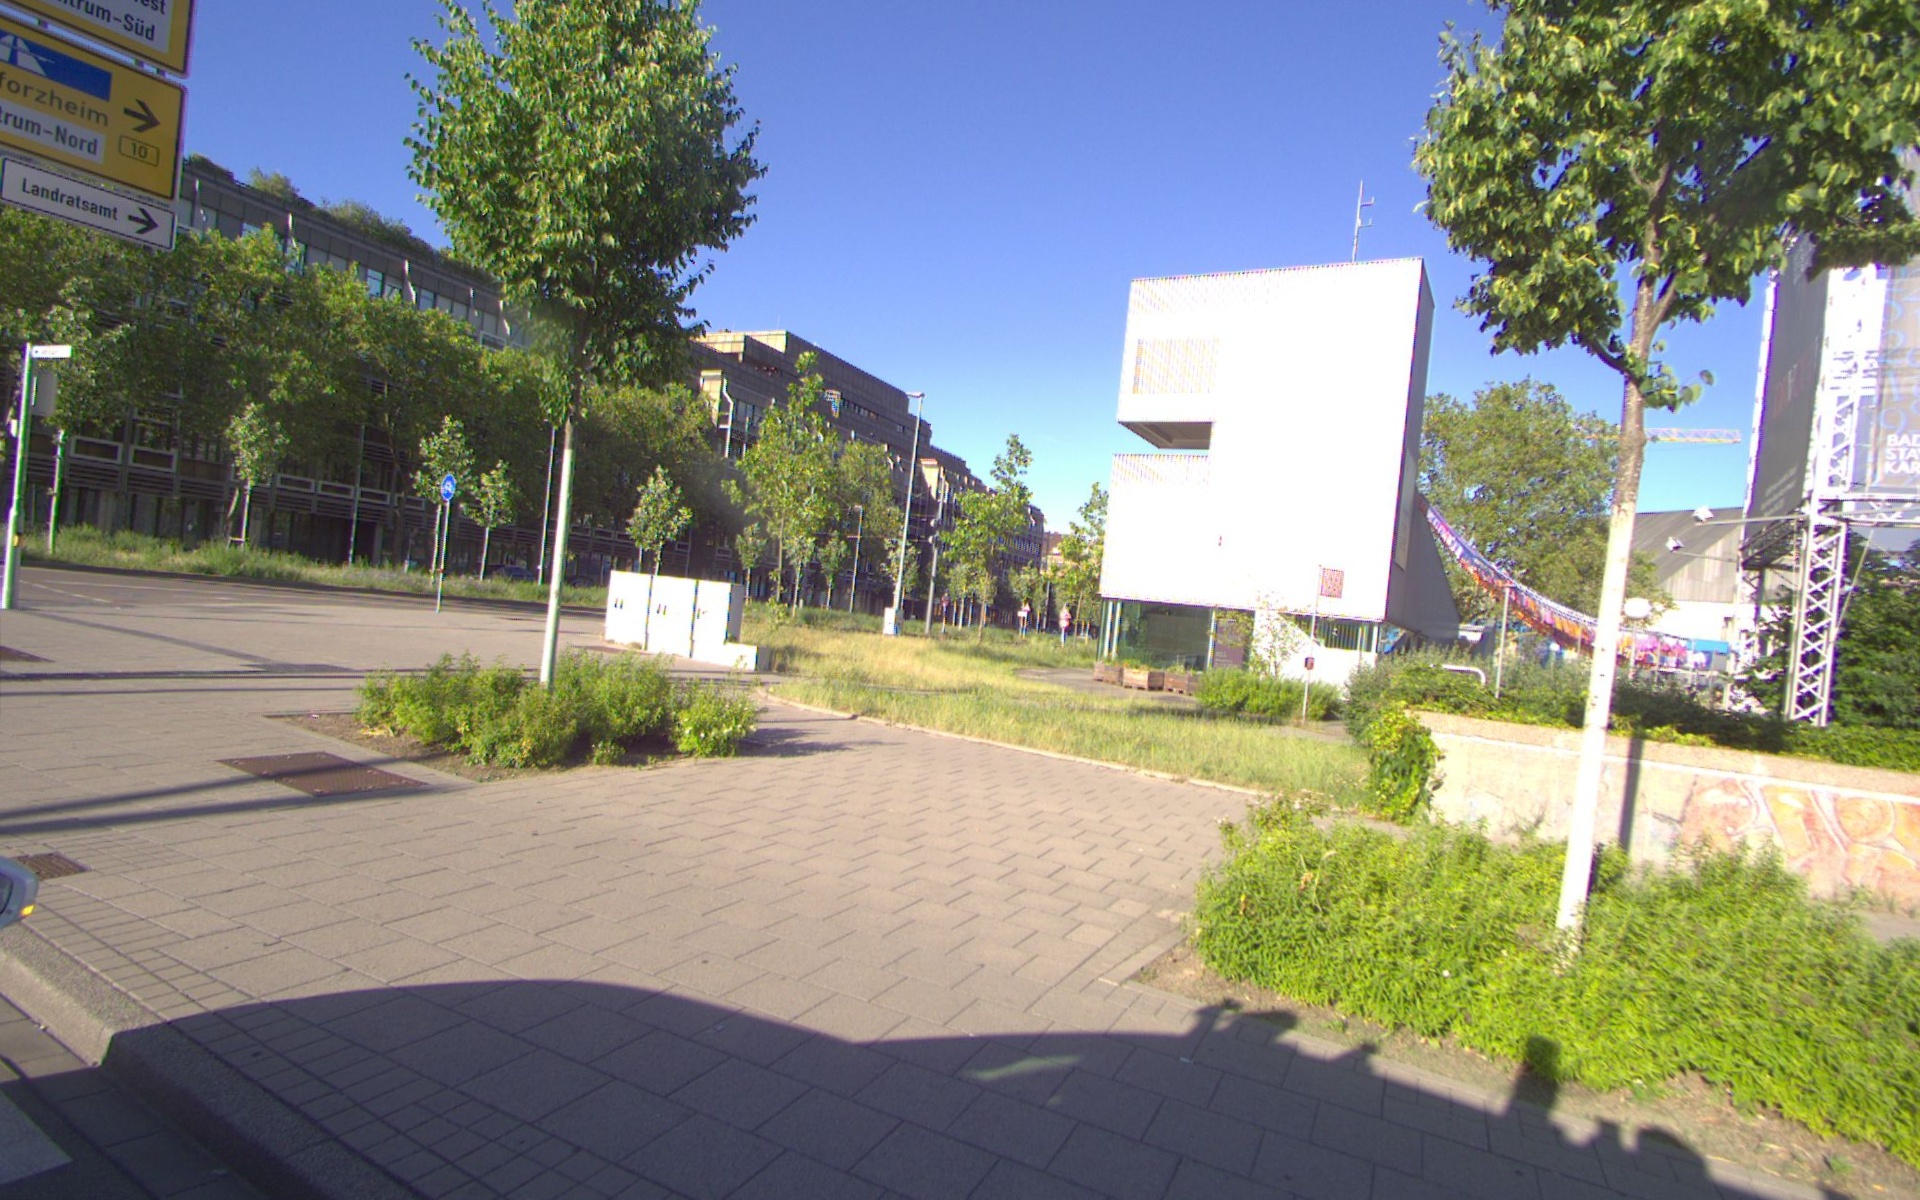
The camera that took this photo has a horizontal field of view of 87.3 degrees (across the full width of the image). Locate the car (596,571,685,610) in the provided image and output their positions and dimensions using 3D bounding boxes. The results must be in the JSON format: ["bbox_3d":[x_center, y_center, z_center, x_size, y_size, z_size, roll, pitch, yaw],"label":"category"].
[{"bbox_3d":[-21.002,-0.569,66.401,2.226,2.037,5.705,4,-2,26],"label":"car"}]

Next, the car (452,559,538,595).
[{"bbox_3d":[-30.170,-1.454,65.489,1.964,1.700,4.868,7,-1,23],"label":"car"}]

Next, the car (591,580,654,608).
[{"bbox_3d":[-25.288,-0.438,75.531,1.718,1.576,4.621,7,-1,24],"label":"car"}]
